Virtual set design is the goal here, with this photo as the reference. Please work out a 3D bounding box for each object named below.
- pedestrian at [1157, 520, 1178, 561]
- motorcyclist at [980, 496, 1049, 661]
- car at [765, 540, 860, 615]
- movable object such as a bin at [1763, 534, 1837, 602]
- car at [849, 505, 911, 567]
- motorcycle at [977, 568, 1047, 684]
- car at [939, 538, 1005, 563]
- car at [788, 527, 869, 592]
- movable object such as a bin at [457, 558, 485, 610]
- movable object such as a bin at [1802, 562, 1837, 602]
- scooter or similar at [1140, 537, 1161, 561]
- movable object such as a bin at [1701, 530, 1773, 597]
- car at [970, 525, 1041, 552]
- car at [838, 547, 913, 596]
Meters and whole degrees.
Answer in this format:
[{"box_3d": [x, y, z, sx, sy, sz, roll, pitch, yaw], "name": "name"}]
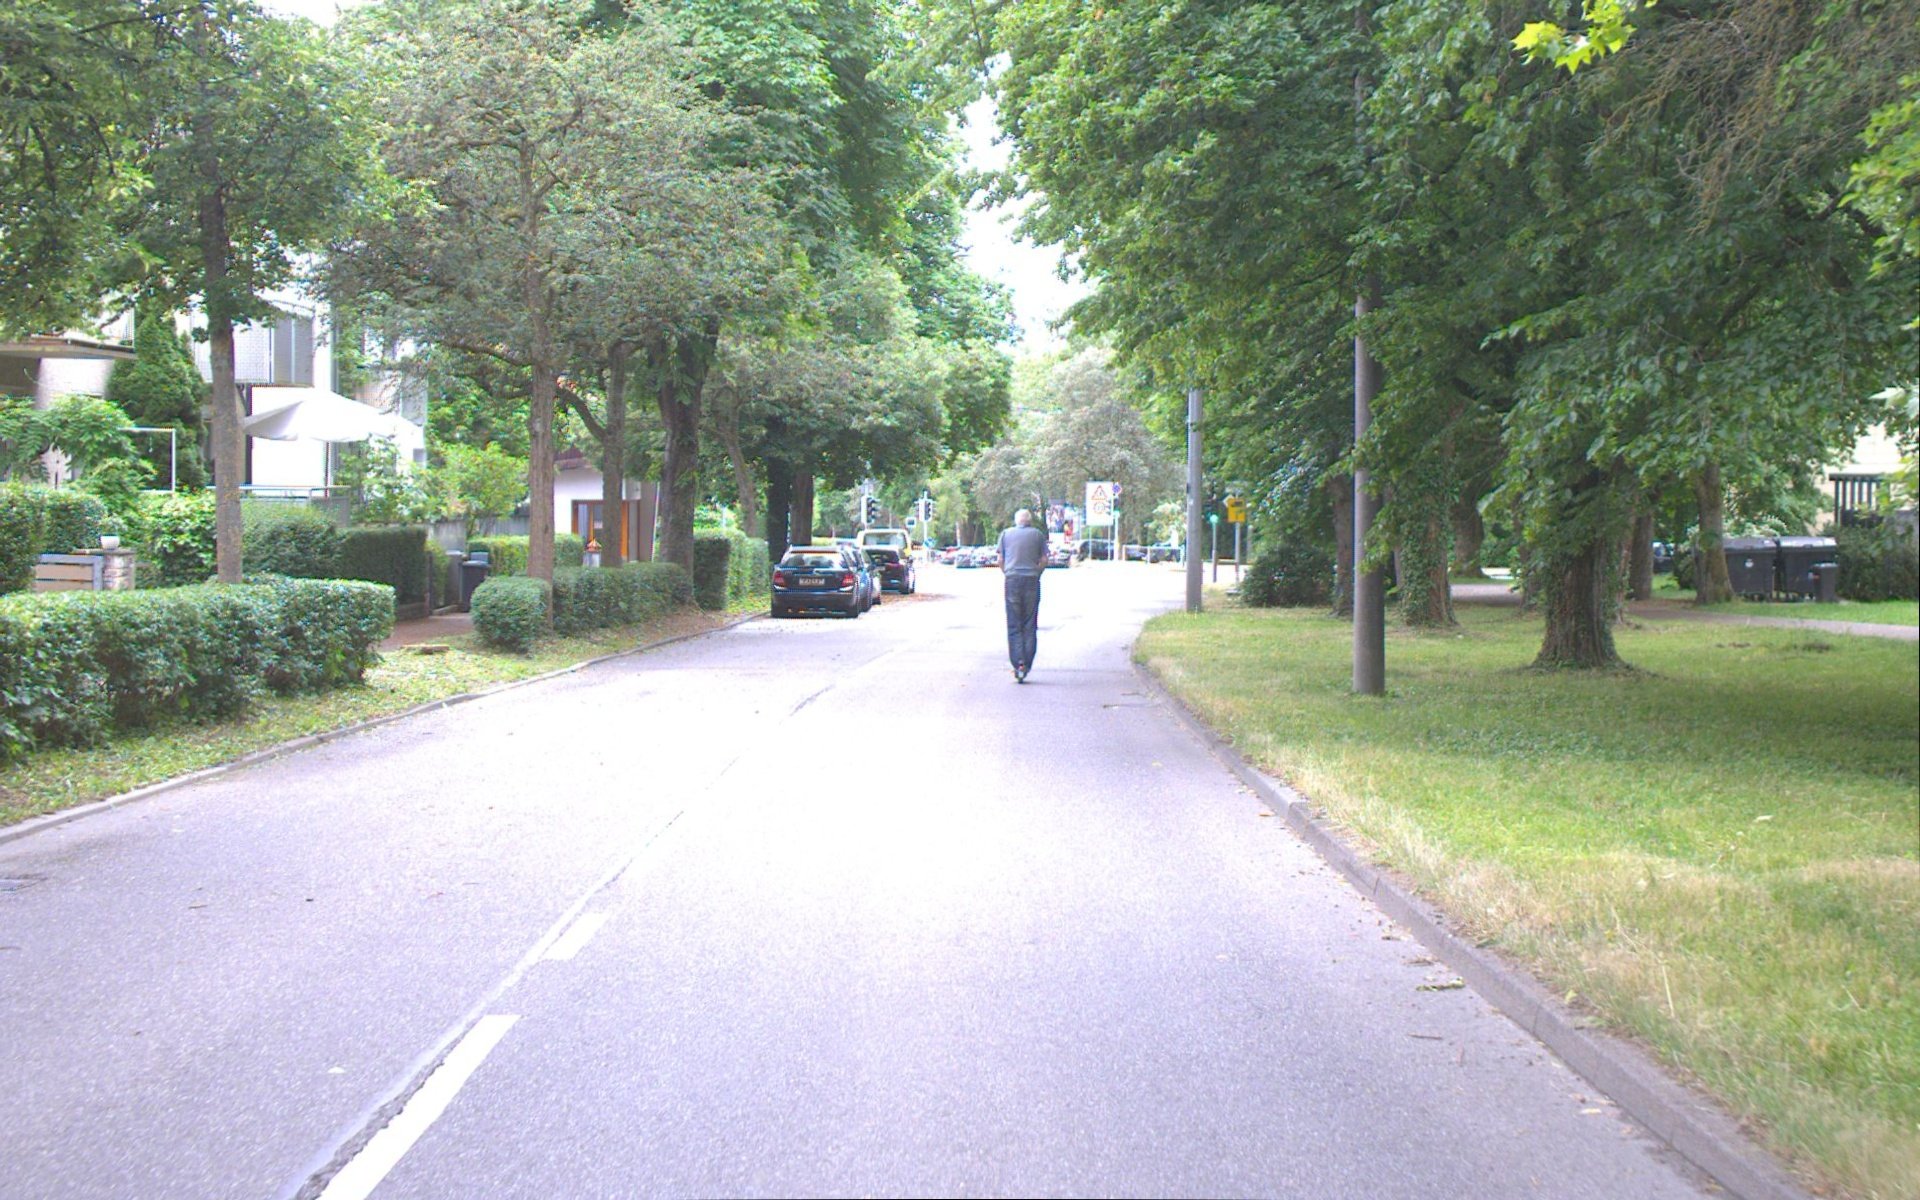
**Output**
[{"box_3d": [8.963, -2.576, 148.706, 0.733, 1.756, 0.661, 0, 0, 21], "name": "pedestrian"}, {"box_3d": [0.599, -0.237, 37.462, 0.673, 1.755, 0.639, 2, 1, 3], "name": "motorcyclist"}, {"box_3d": [-2.991, -0.480, 70.291, 1.794, 1.467, 4.418, 0, 1, -1], "name": "car"}, {"box_3d": [19.107, -0.733, 78.229, 1.326, 1.496, 1.314, -1, 1, -1], "name": "movable object such as a bin"}, {"box_3d": [-2.642, -2.068, 112.427, 1.857, 1.957, 4.505, 0, 0, -4], "name": "car"}, {"box_3d": [0.570, 0.269, 37.193, 0.673, 1.213, 1.273, 2, 1, 3], "name": "motorcycle"}, {"box_3d": [0.741, -3.041, 209.859, 3.987, 1.505, 1.800, 0, 1, -1], "name": "car"}, {"box_3d": [-2.861, -0.904, 75.356, 1.664, 1.387, 3.707, 0, 1, 0], "name": "car"}, {"box_3d": [-8.802, -0.290, 61.879, 0.456, 0.912, 0.508, -1, 1, -4], "name": "movable object such as a bin"}, {"box_3d": [19.076, -0.410, 76.348, 0.598, 0.875, 0.669, -1, 1, -1], "name": "movable object such as a bin"}, {"box_3d": [8.273, -2.221, 149.021, 0.711, 1.045, 0.786, 0, 0, 21], "name": "scooter or similar"}, {"box_3d": [17.663, -0.831, 78.204, 1.326, 1.496, 1.314, -1, 1, -1], "name": "movable object such as a bin"}, {"box_3d": [2.553, -3.468, 195.004, 3.987, 1.505, 1.800, 0, 1, -1], "name": "car"}, {"box_3d": [-2.471, -0.837, 101.513, 1.892, 1.405, 4.553, 0, 0, 2], "name": "car"}]
